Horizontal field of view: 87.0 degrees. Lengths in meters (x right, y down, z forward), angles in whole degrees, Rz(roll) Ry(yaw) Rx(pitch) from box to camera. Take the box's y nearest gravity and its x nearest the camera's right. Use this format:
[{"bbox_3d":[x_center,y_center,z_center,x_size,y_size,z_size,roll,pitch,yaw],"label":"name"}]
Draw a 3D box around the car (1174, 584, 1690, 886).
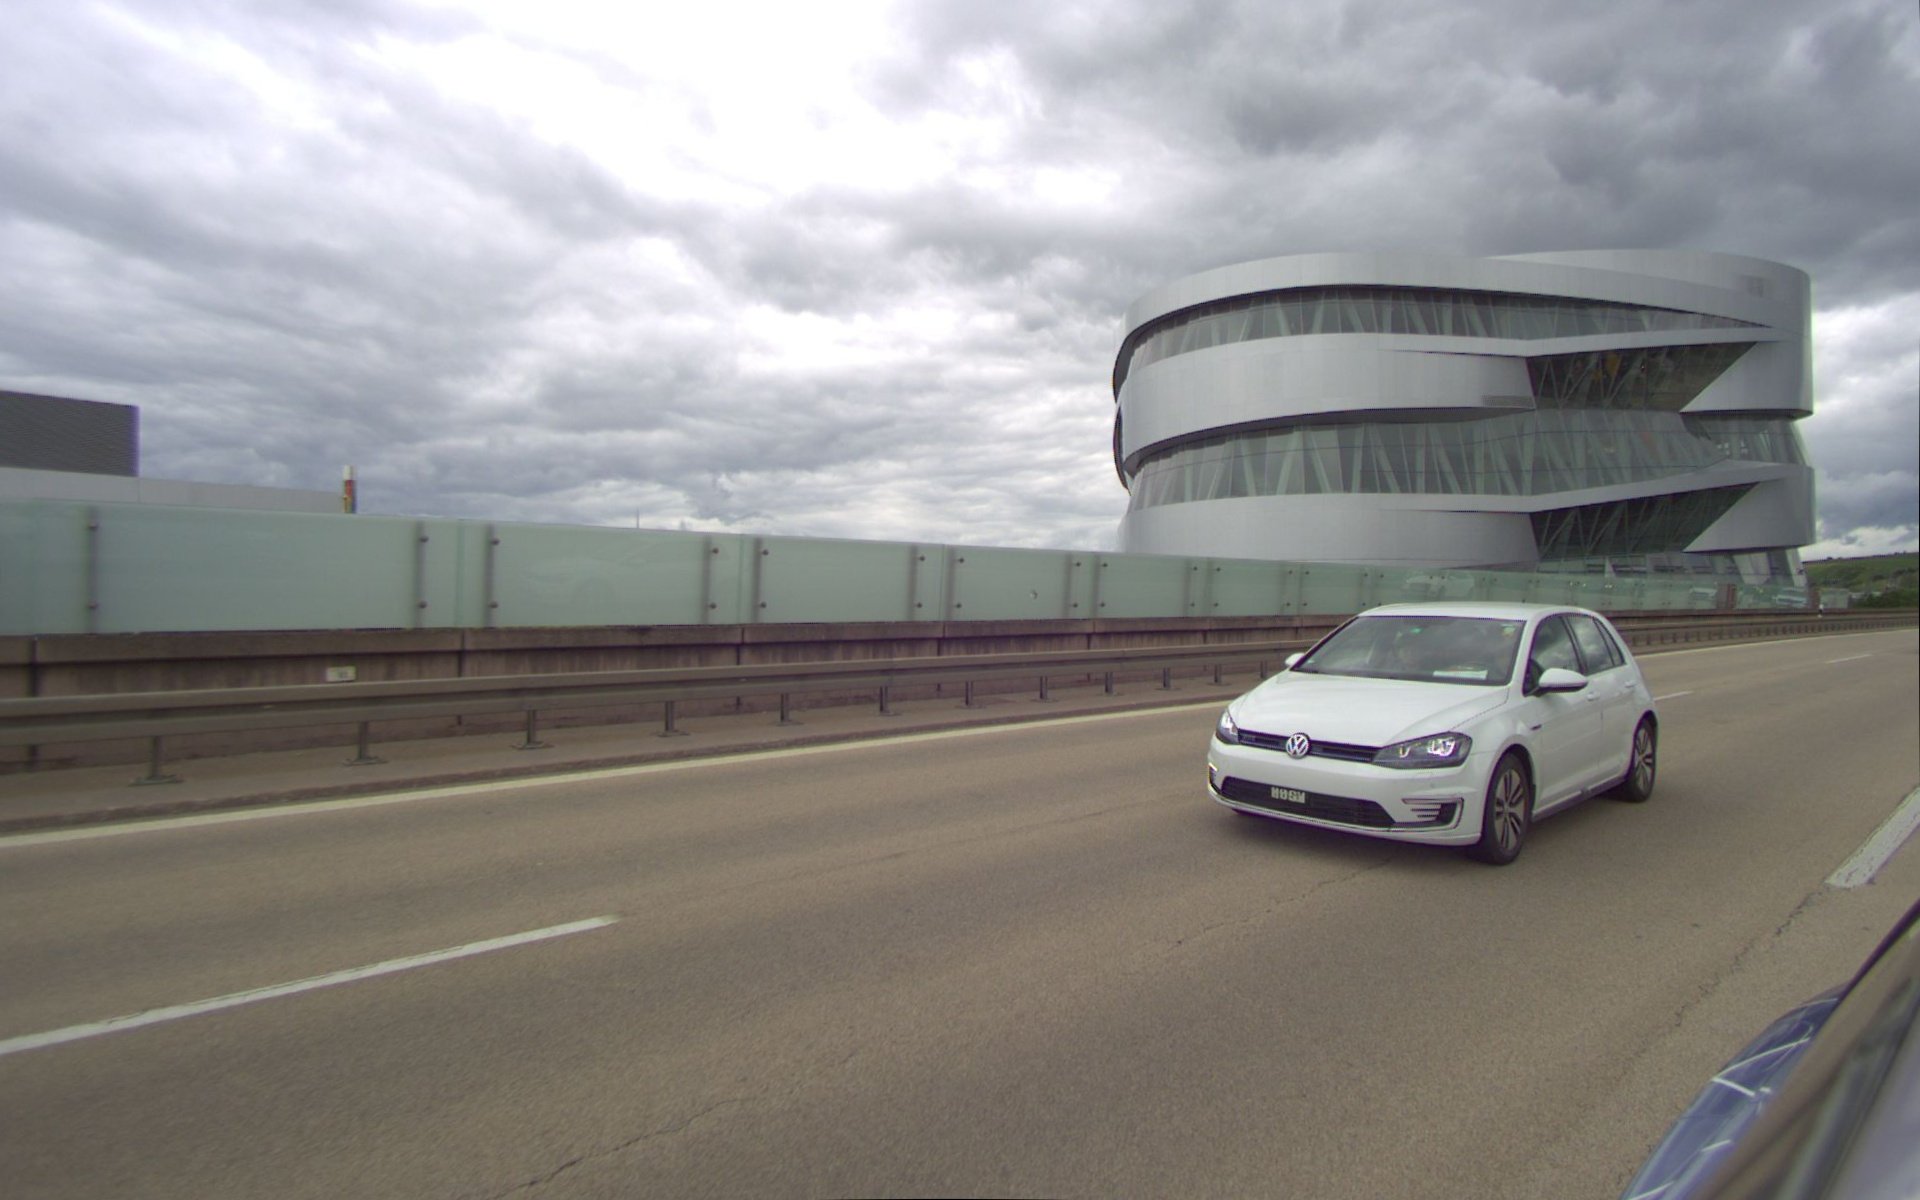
[{"bbox_3d":[3.405,0.652,6.942,4.001,1.470,1.757,0,1,-41],"label":"car"}]
